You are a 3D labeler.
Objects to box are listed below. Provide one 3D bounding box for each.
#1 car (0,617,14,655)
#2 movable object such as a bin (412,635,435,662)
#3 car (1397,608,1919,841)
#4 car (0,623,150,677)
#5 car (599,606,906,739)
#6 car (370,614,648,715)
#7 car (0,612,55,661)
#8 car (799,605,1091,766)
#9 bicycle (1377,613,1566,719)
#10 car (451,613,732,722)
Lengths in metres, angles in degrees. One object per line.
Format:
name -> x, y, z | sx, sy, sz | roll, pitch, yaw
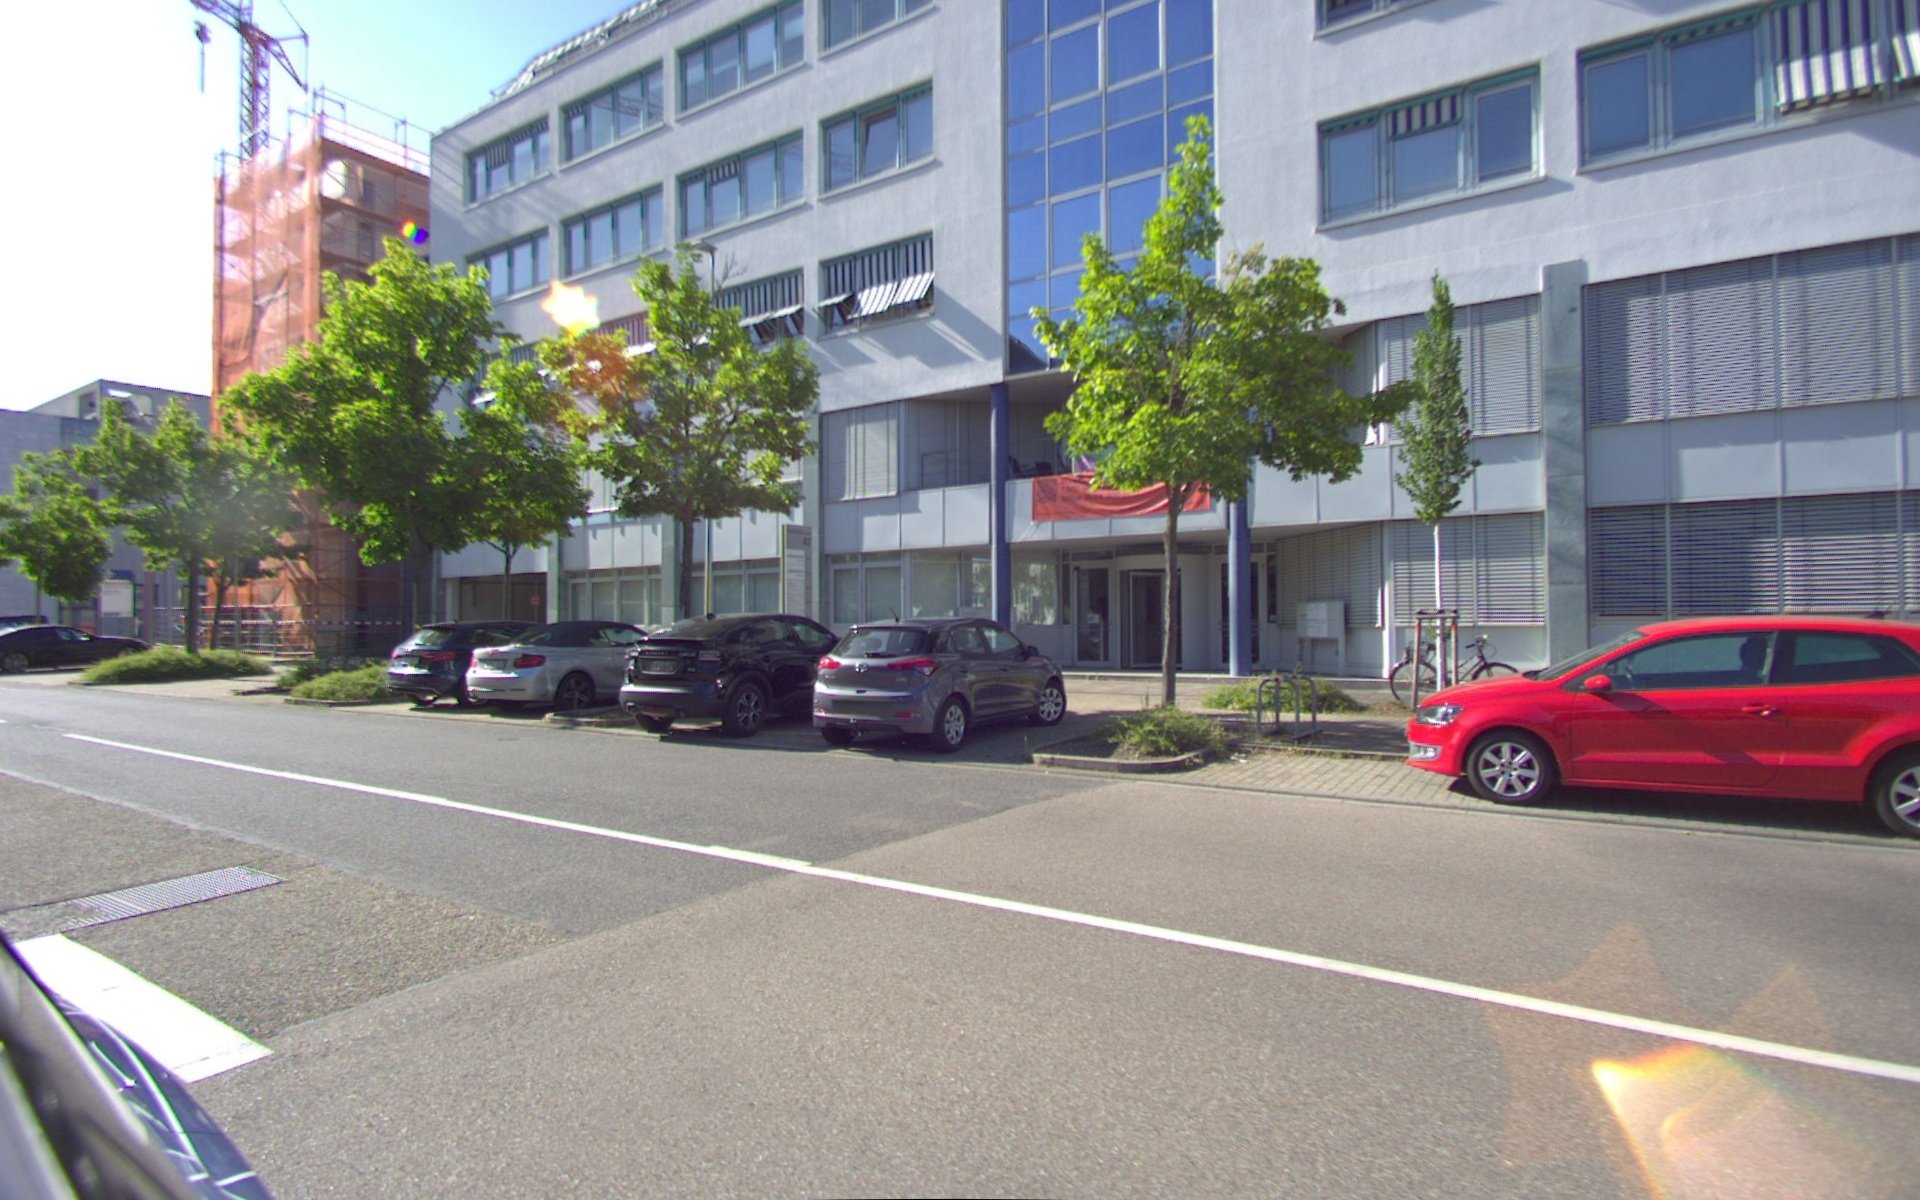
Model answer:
car -> -40.798, 1.534, 40.245 | 1.689, 1.525, 4.349 | -1, 0, 34
movable object such as a bin -> -18.792, 1.705, 35.466 | 0.610, 0.934, 0.482 | -1, -3, 37
car -> 5.625, 0.826, 7.833 | 3.862, 1.443, 1.674 | -1, 0, 34
car -> -27.926, 1.504, 31.061 | 1.970, 1.442, 4.355 | -1, 0, 30
car -> -2.676, 0.874, 14.096 | 1.687, 1.442, 4.353 | -1, 0, 31
car -> -7.896, 1.045, 18.146 | 1.688, 1.442, 4.351 | -1, 0, 32
car -> -37.025, 1.417, 37.924 | 1.843, 1.758, 4.348 | -1, 0, 35
car -> 0.028, 0.898, 12.667 | 1.686, 1.549, 4.356 | -1, 0, 29
bicycle -> 7.017, 0.879, 13.969 | 2.230, 1.357, 0.702 | -1, -3, 40
car -> -5.969, 1.020, 16.933 | 1.687, 1.442, 4.355 | -1, 0, 30
